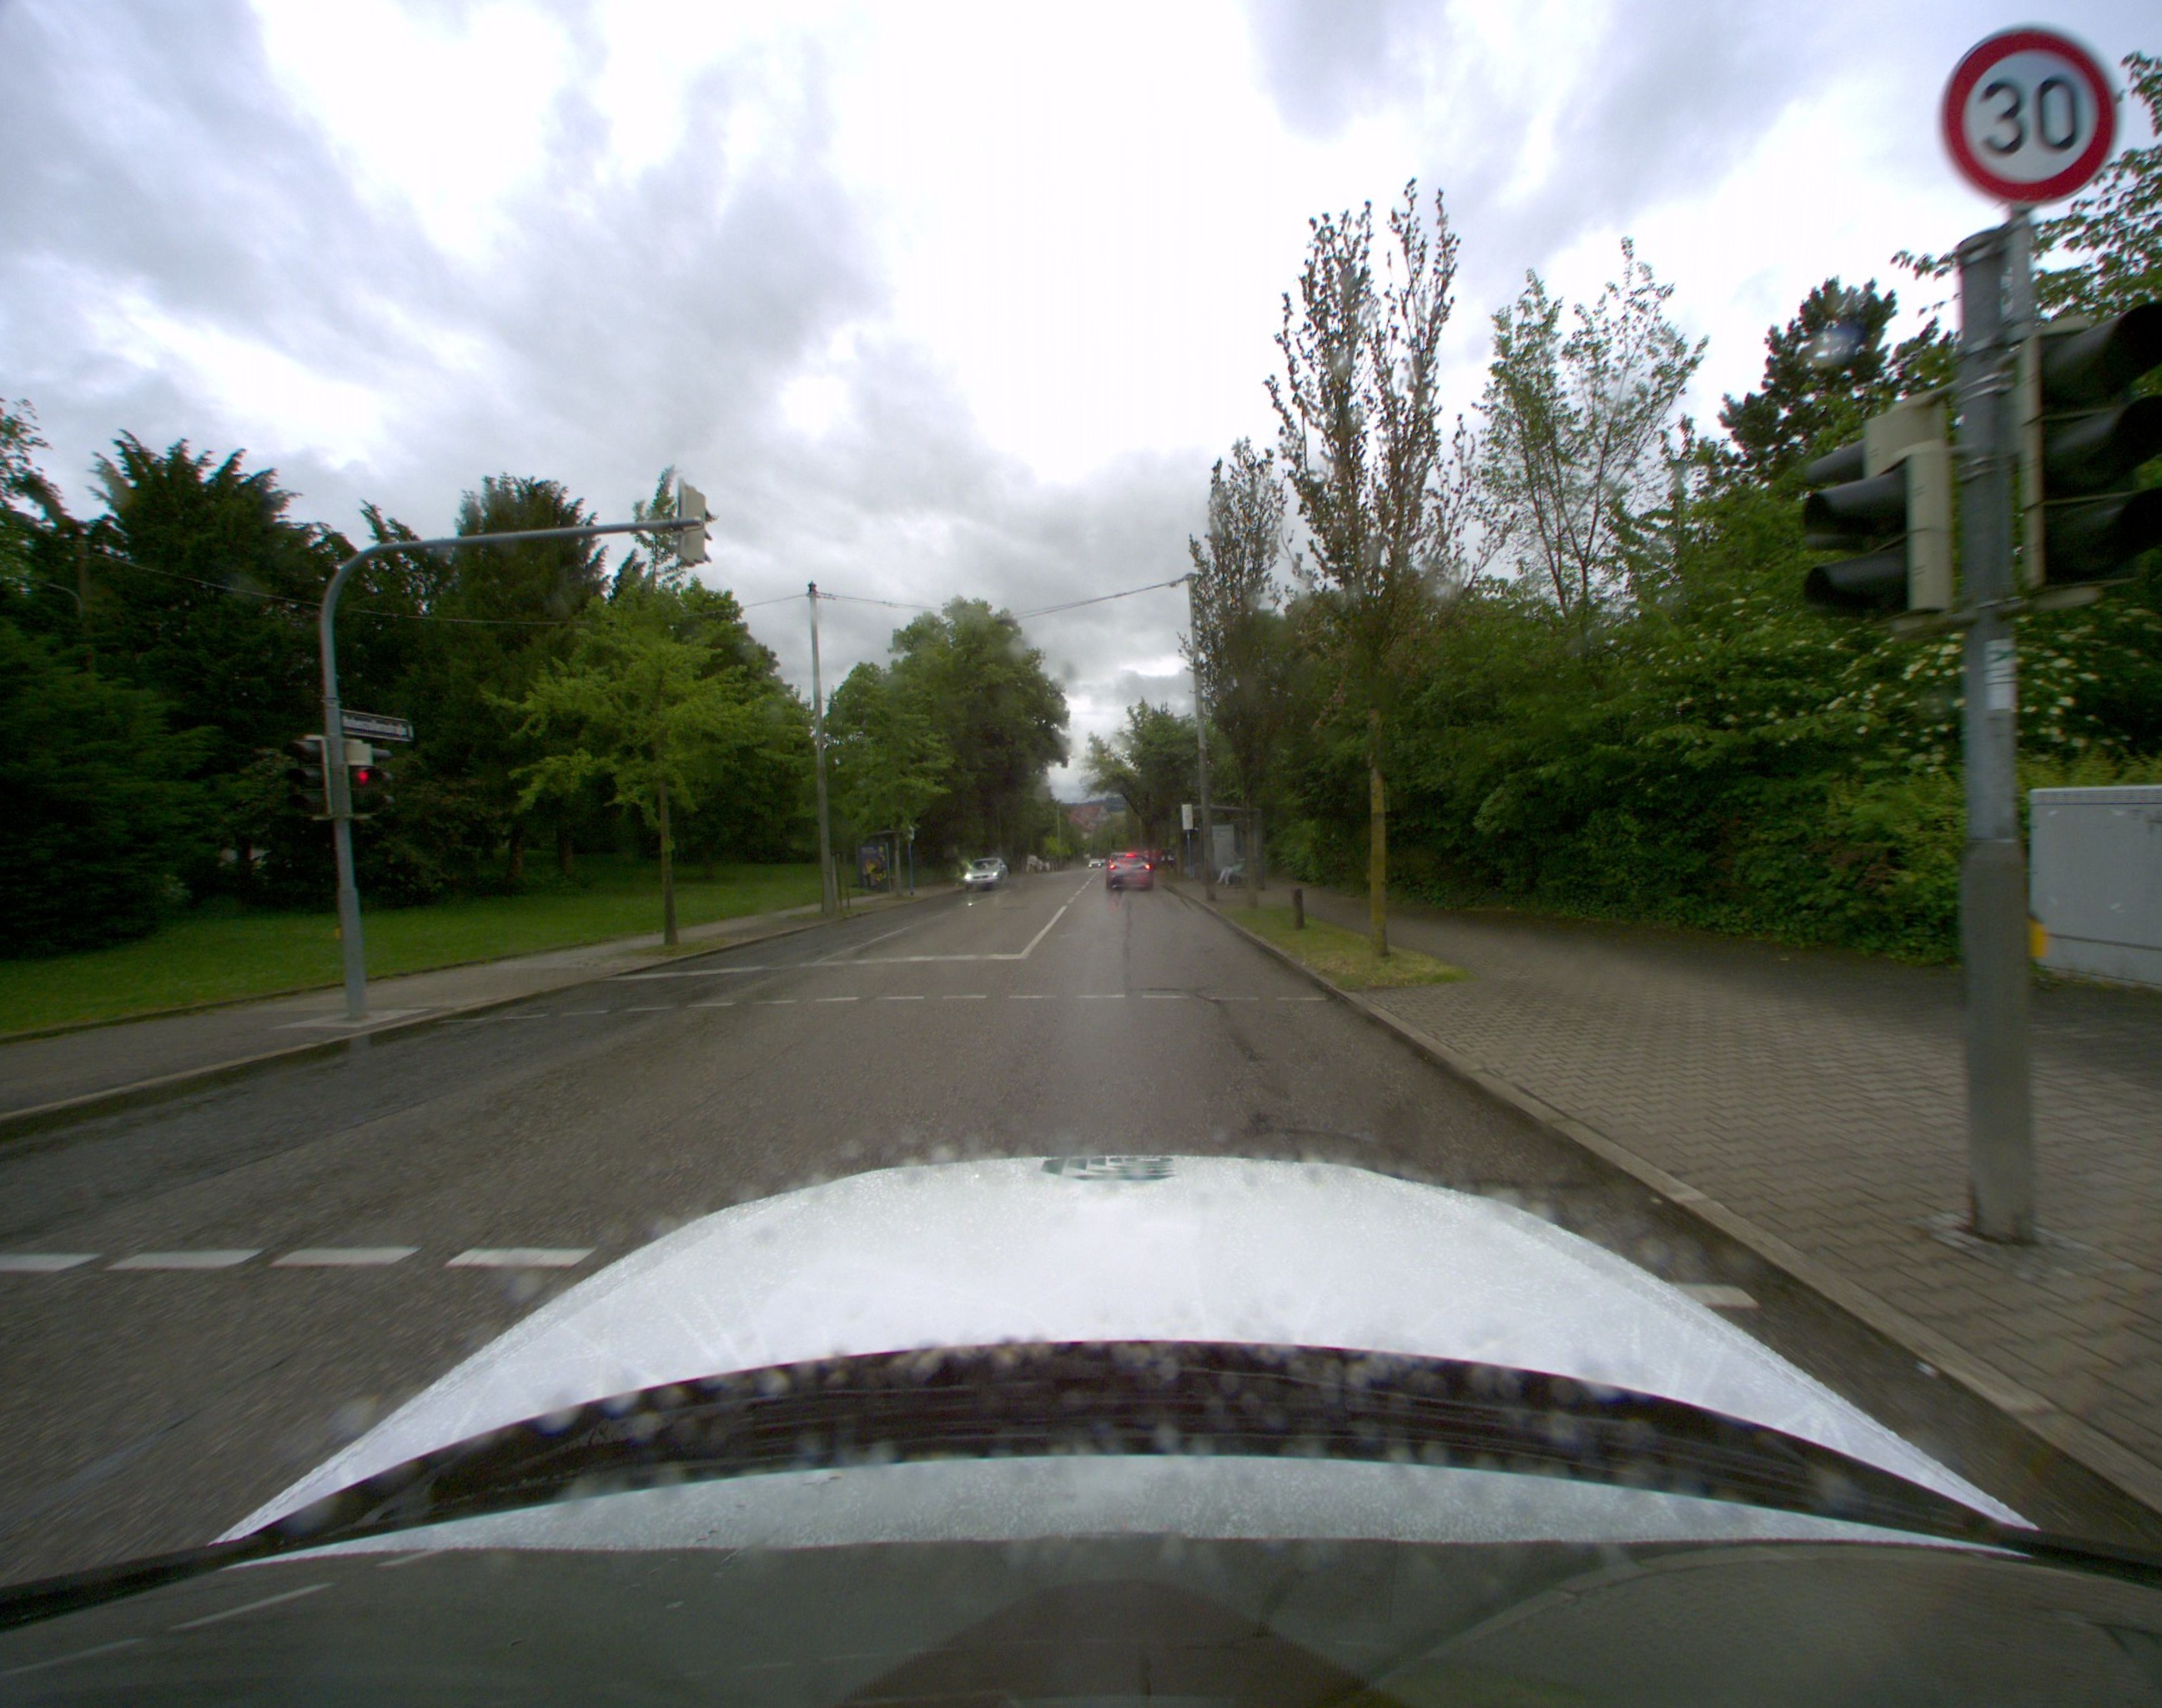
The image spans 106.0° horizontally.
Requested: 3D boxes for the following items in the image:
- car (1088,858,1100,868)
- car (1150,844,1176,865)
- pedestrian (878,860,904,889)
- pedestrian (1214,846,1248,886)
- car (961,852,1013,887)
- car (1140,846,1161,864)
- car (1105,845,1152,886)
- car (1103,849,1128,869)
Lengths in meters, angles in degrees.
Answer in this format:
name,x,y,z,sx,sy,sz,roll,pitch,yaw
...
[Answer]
name,x,y,z,sx,sy,sz,roll,pitch,yaw
car,2.061,1.334,124.958,1.715,1.464,4.003,1,1,2
car,6.196,0.029,61.685,1.714,1.464,4.003,-4,1,3
pedestrian,-9.383,0.995,40.253,0.932,1.403,0.921,0,1,9
pedestrian,5.305,0.413,28.851,1.067,1.355,0.921,-3,0,9
car,-4.310,0.677,37.814,1.715,1.399,4.003,-4,0,2
car,6.546,0.084,76.852,1.714,1.464,4.003,-4,1,3
car,1.849,0.424,32.464,1.747,1.464,4.002,0,1,2
car,2.582,0.388,60.555,1.747,1.464,4.002,0,-1,3
